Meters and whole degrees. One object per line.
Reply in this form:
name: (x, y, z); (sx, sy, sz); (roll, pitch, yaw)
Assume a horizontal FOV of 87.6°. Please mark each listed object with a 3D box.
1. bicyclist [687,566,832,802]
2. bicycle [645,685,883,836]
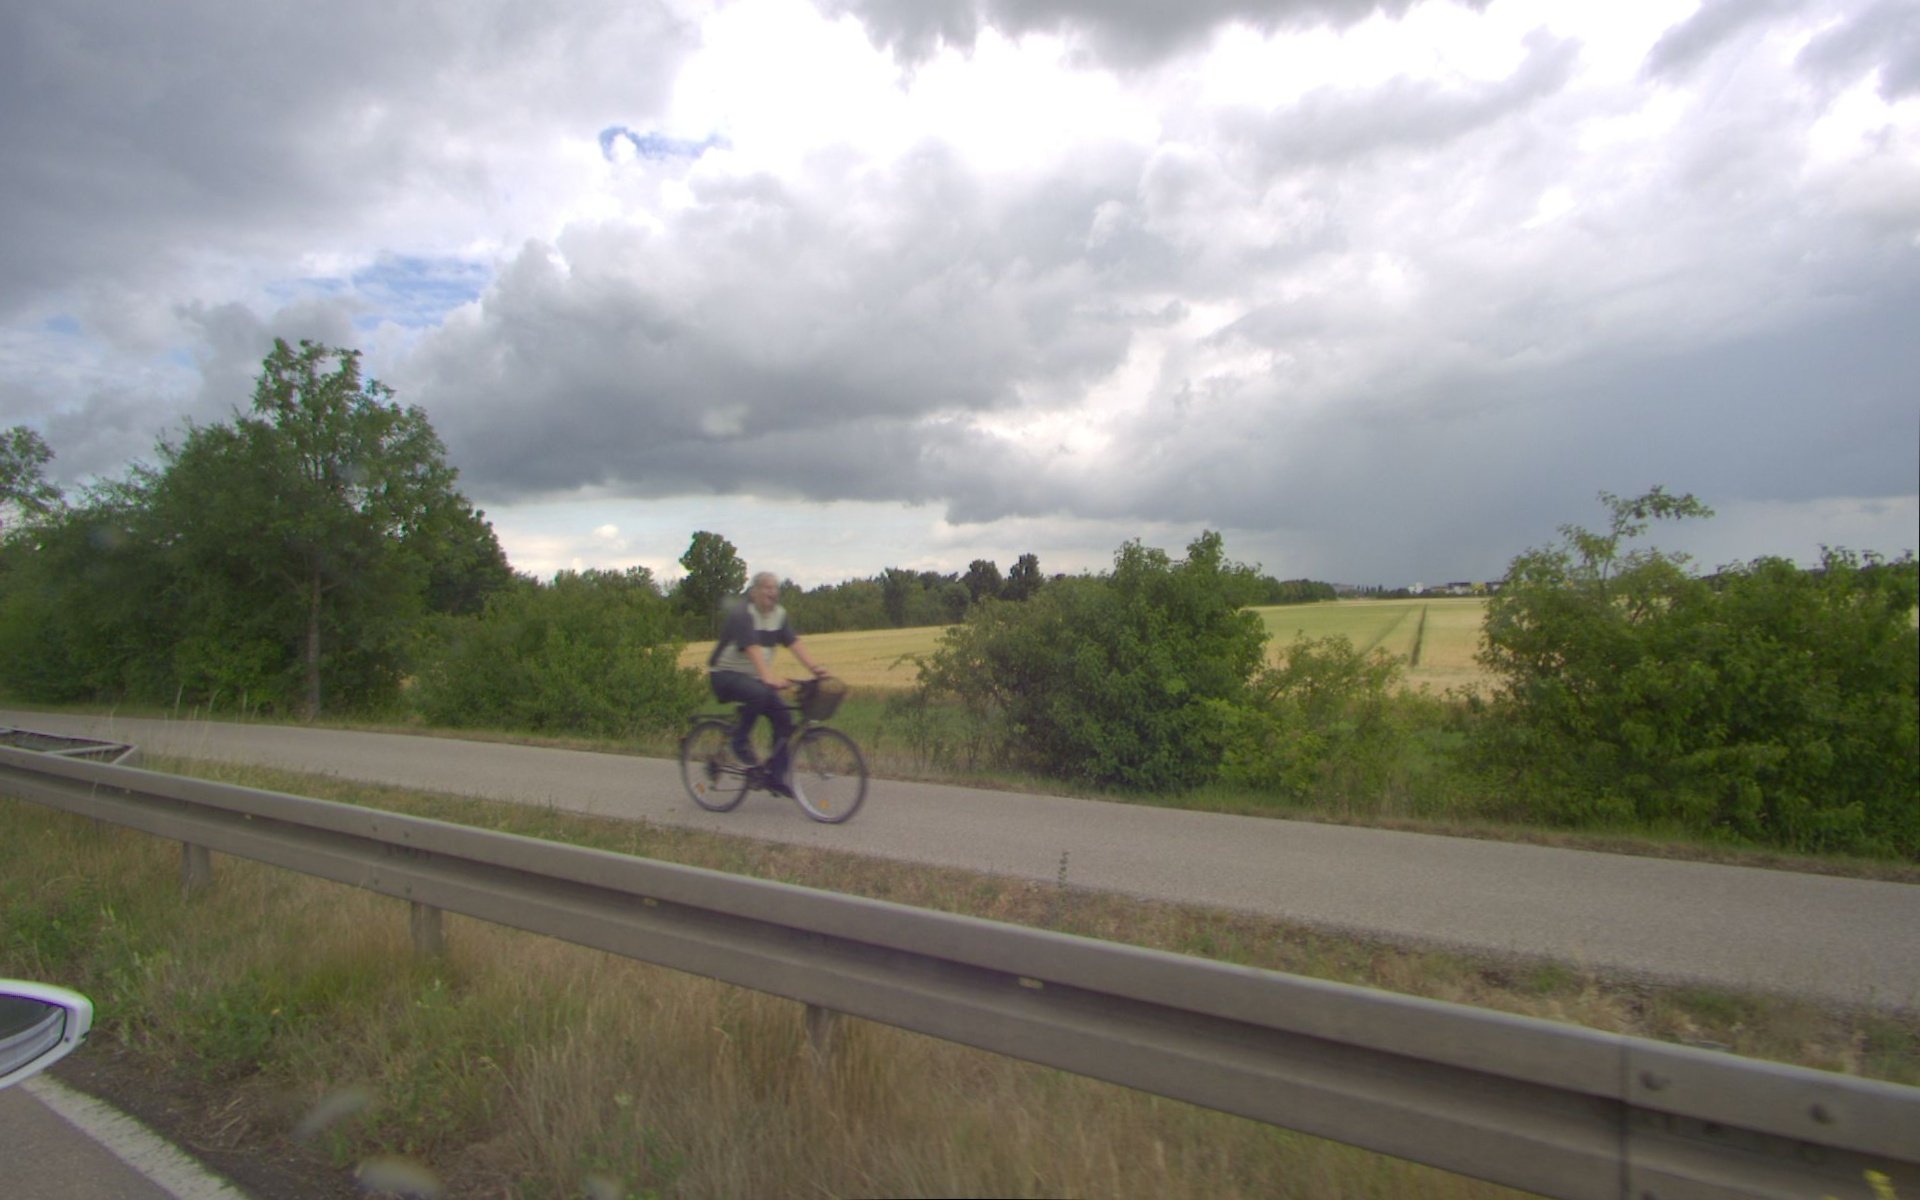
bicyclist: (-1.514, 0.604, 7.575); (0.854, 1.667, 0.645); (-1, 0, 32)
bicycle: (-1.505, 1.154, 7.572); (1.804, 0.932, 0.664); (-1, 0, 32)
